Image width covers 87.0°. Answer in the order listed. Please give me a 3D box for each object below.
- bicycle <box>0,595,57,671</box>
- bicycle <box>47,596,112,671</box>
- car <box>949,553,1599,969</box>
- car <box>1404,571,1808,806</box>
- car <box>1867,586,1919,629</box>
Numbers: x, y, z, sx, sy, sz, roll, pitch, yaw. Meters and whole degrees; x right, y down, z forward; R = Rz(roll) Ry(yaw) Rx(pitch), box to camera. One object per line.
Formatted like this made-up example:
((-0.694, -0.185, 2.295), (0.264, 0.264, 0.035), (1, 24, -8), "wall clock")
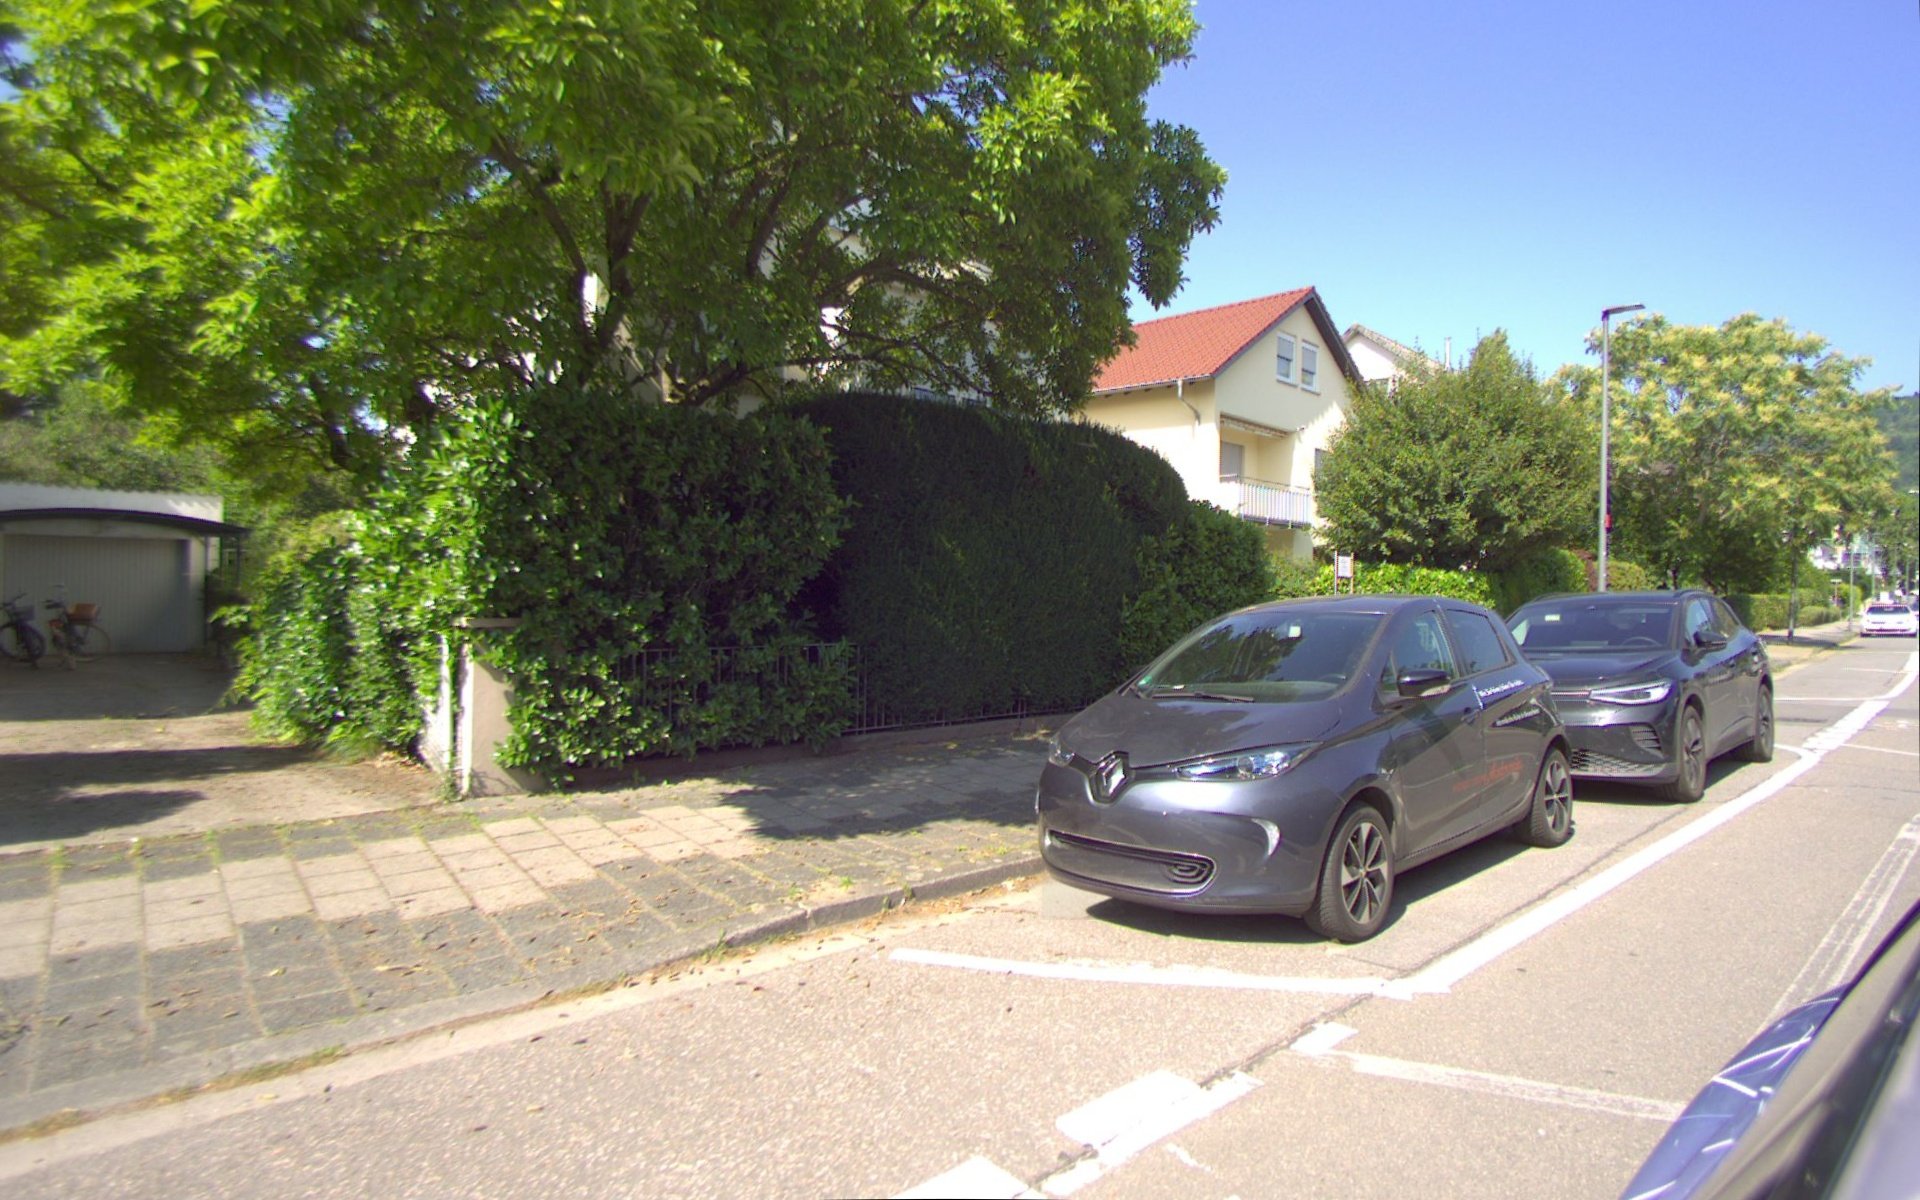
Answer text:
((-14.163, 0.476, 15.296), (0.568, 1.058, 1.711), (1, 1, -35), "bicycle")
((-13.603, 0.485, 15.671), (0.568, 1.058, 1.711), (1, 1, -35), "bicycle")
((1.996, 0.668, 5.846), (3.849, 1.579, 1.814), (0, -4, -42), "car")
((5.902, 0.627, 9.006), (4.519, 1.579, 1.814), (0, -2, -41), "car")
((39.388, 0.291, 42.429), (1.992, 1.727, 3.940), (0, 1, 42), "car")
